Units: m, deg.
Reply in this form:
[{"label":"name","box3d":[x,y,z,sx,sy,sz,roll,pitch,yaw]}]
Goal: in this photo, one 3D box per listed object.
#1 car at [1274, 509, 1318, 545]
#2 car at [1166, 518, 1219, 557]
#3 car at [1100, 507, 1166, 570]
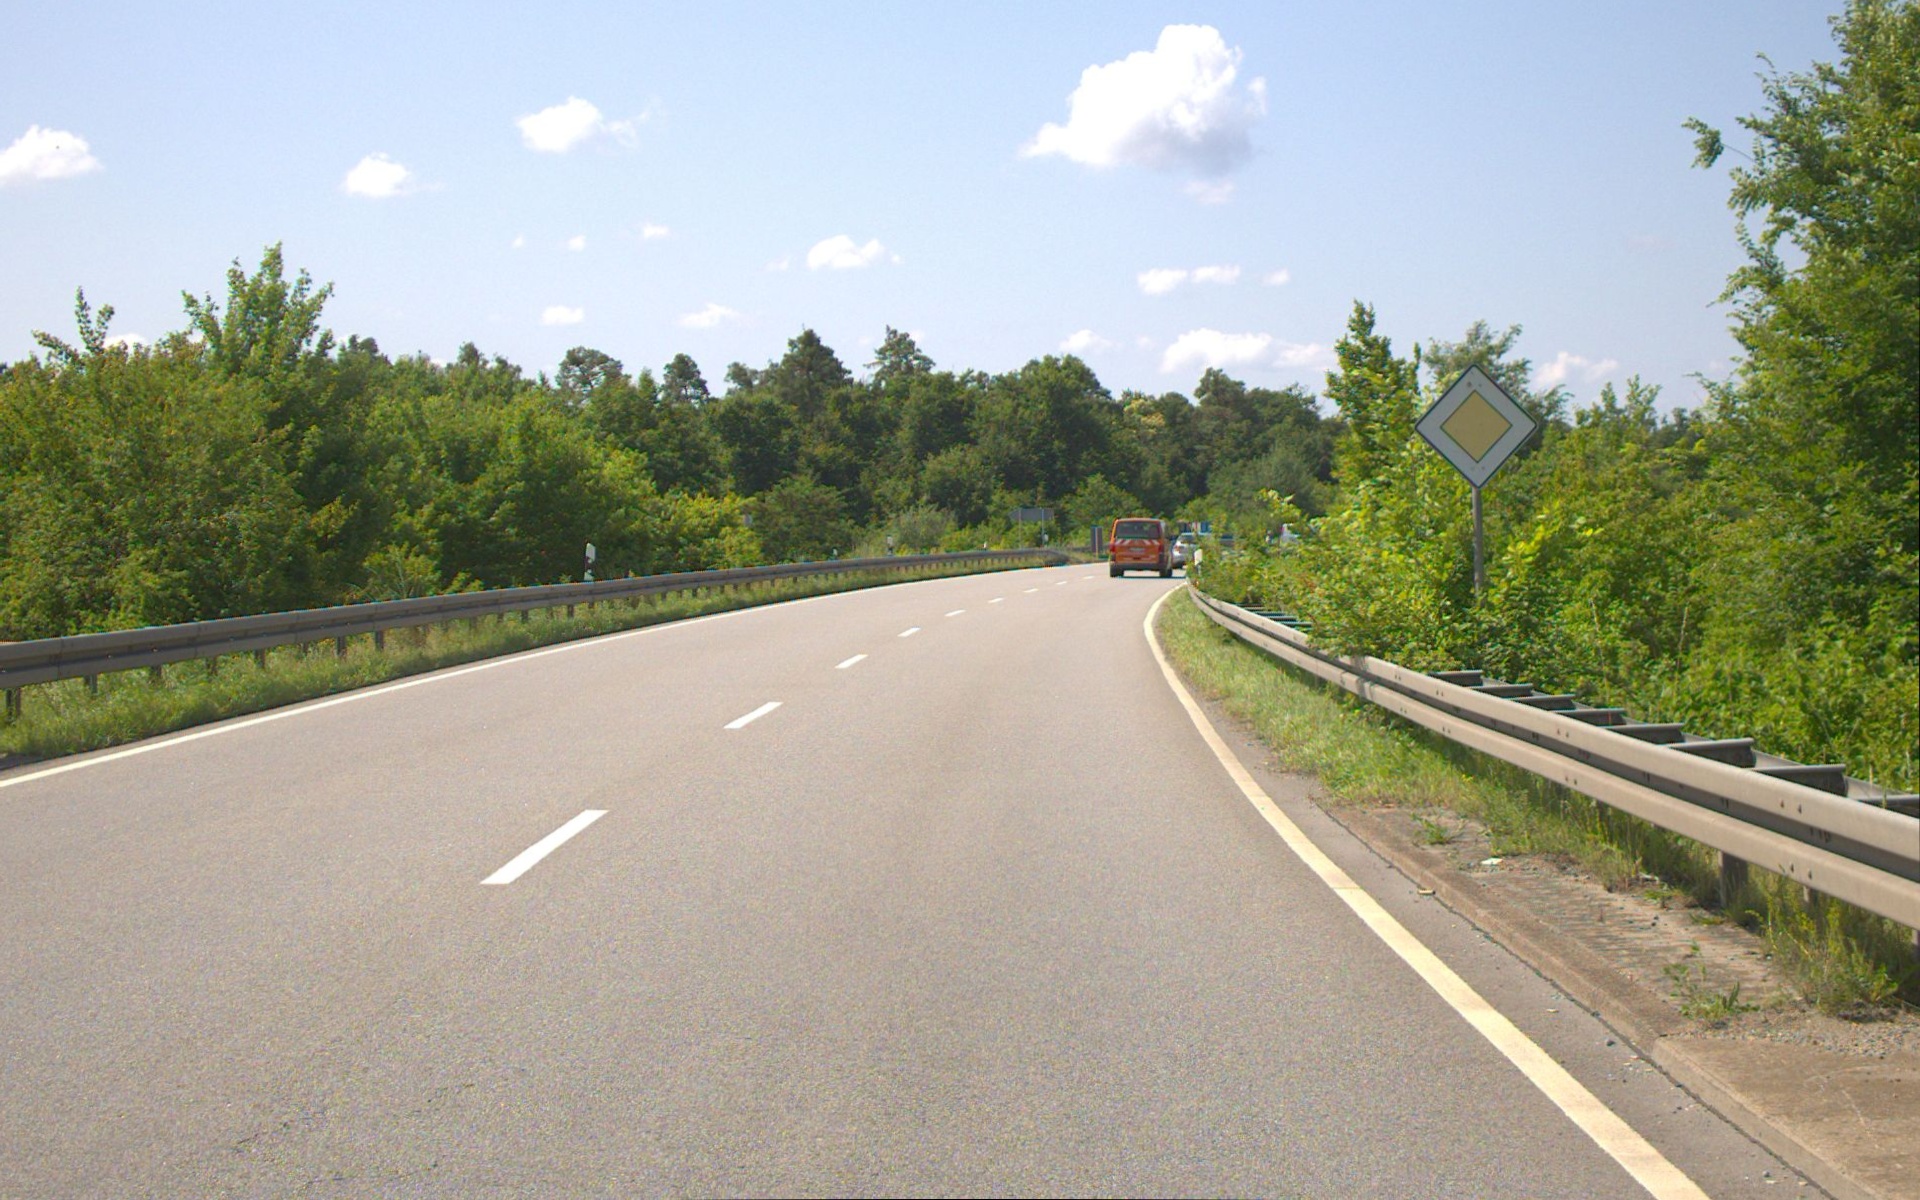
[{"label":"car","box3d":[19.047,-4.124,195.160,2.185,1.948,5.803,2,1,3]},{"label":"car","box3d":[9.240,-2.482,136.977,2.007,1.488,4.238,1,1,3]},{"label":"car","box3d":[5.716,-2.028,114.077,2.077,1.986,5.111,1,1,2]}]
